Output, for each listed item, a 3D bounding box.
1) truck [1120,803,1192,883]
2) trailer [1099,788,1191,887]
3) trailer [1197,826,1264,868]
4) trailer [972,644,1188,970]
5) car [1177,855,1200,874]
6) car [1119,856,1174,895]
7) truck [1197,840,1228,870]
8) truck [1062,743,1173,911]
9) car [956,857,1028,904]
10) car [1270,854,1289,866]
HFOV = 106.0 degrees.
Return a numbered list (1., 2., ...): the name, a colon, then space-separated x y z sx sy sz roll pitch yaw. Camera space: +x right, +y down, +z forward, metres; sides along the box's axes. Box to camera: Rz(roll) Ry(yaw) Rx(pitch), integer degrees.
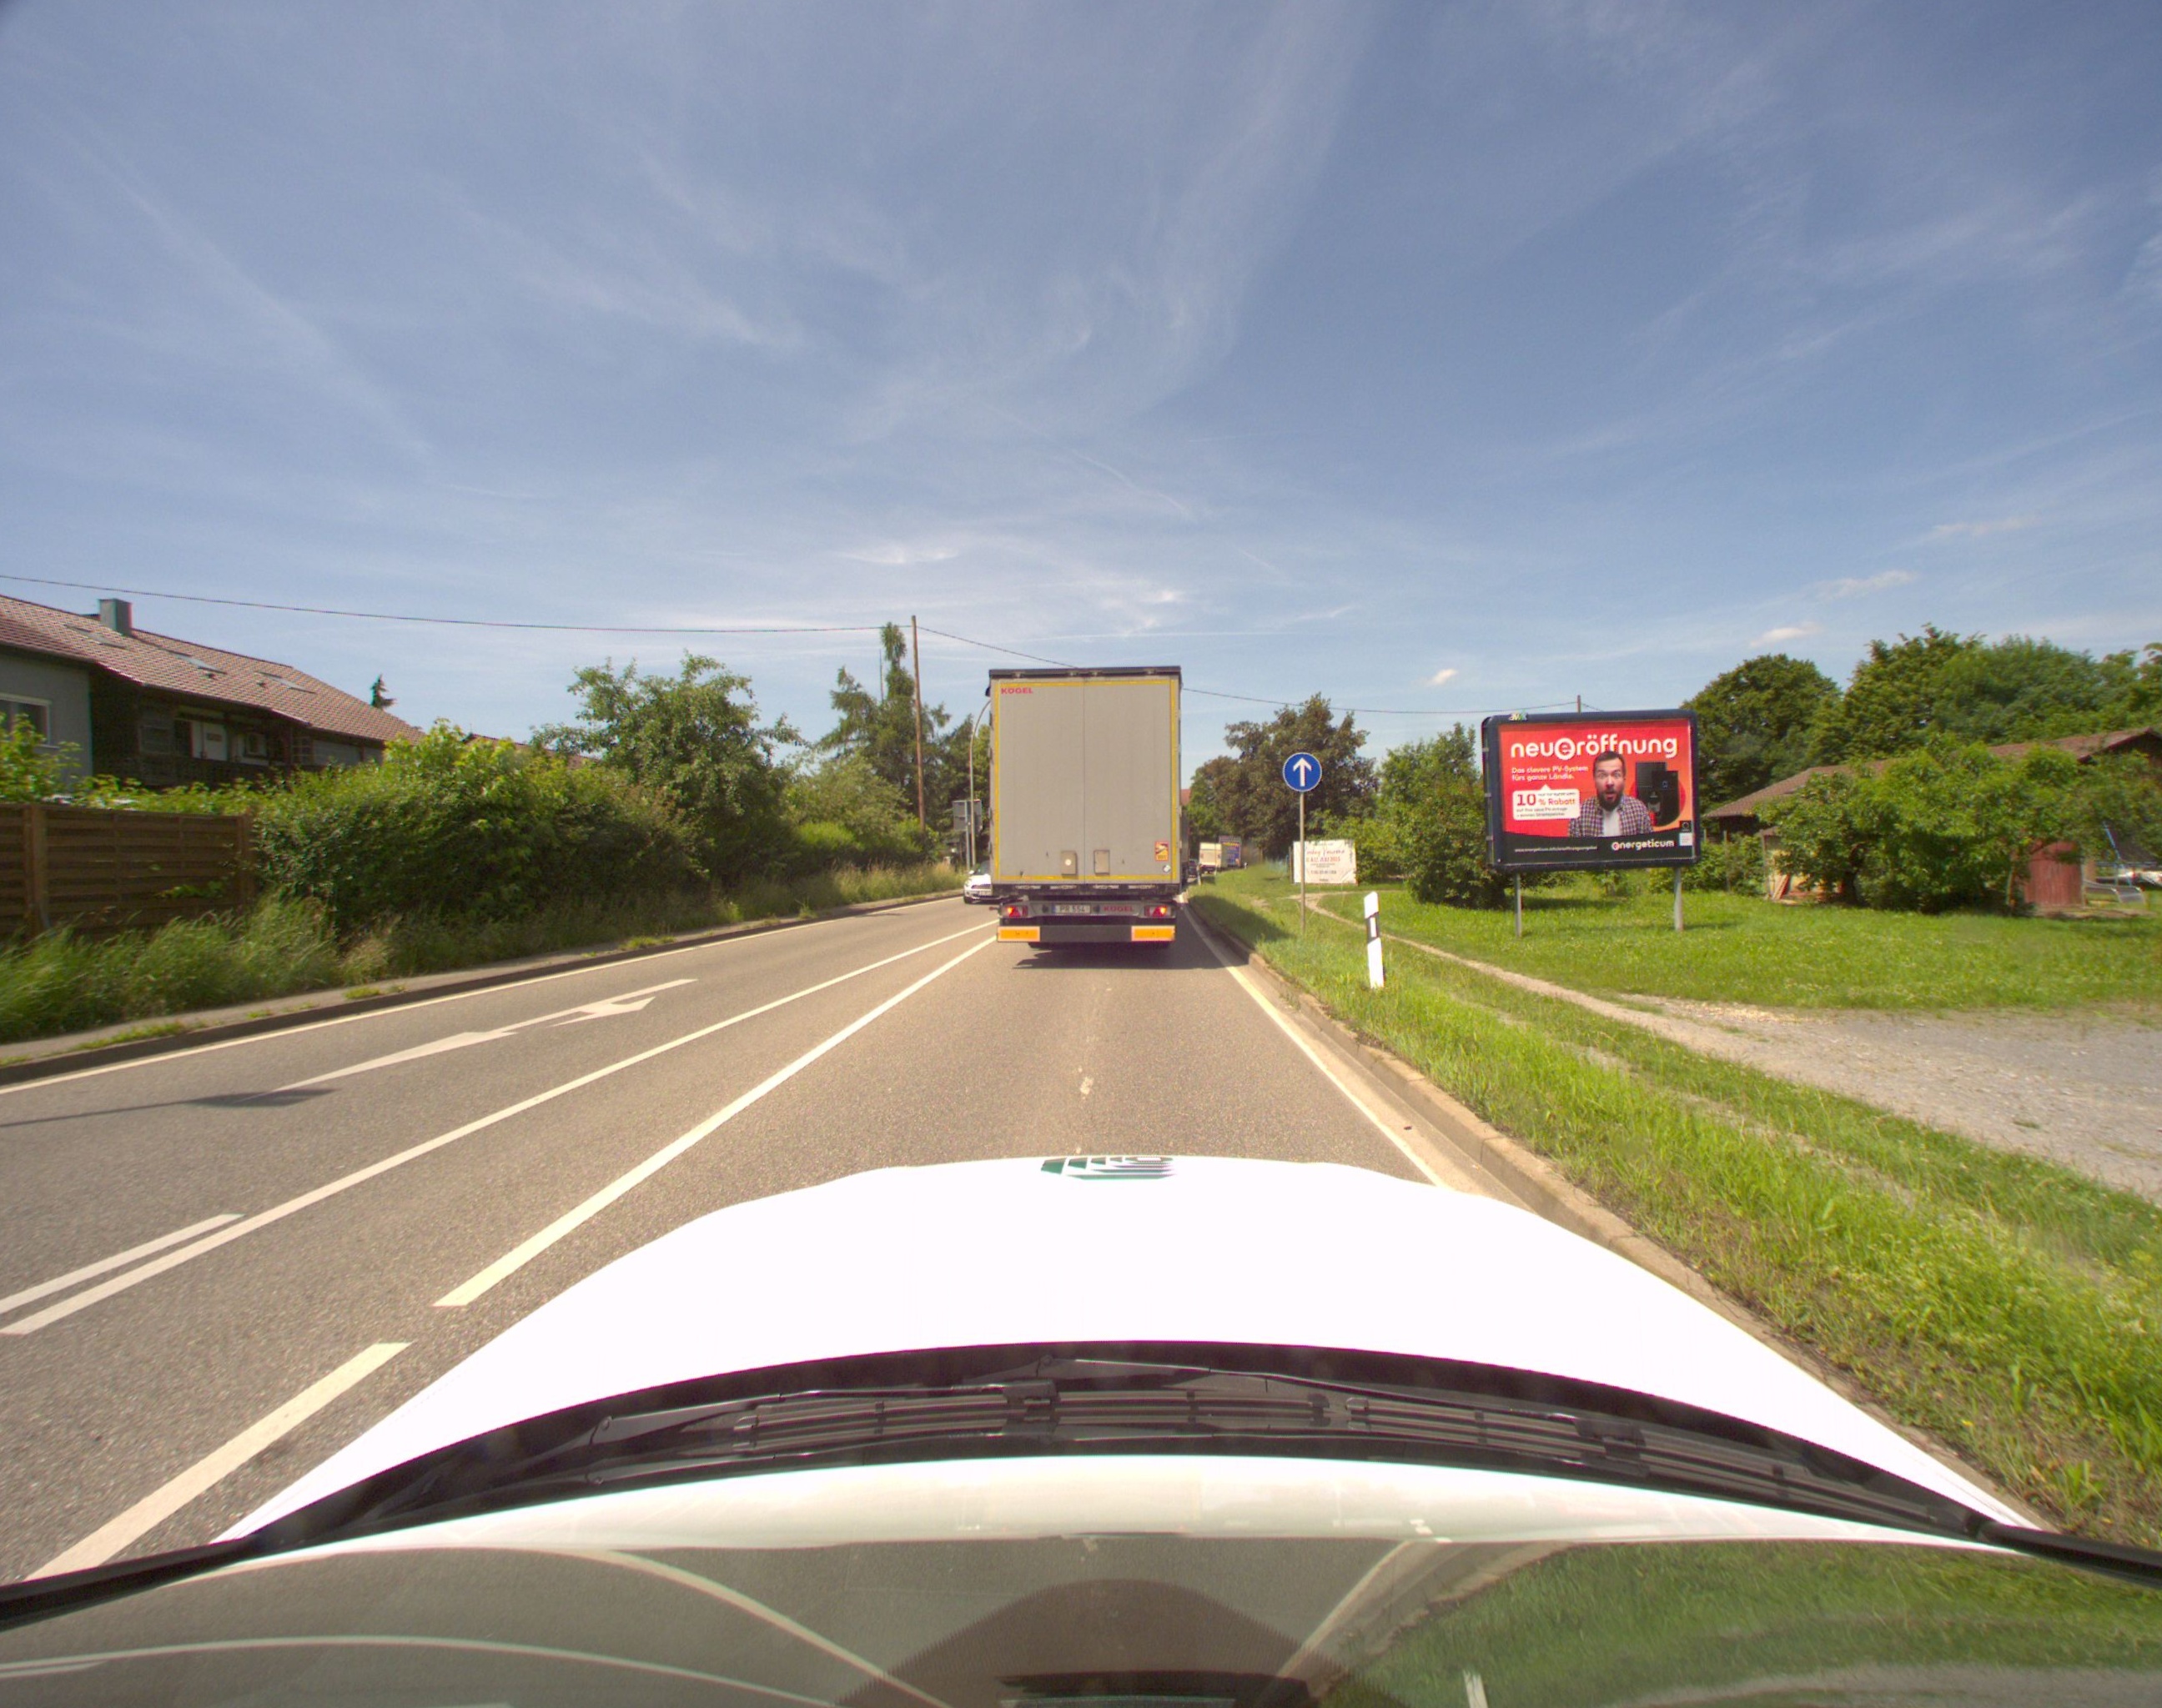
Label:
1. truck: 4.816 -0.634 50.976 3.913 4.575 7.170 -1 0 9
2. trailer: 3.818 -0.802 44.147 3.868 4.520 12.746 -1 0 9
3. trailer: 18.262 -0.848 97.985 5.135 4.628 15.978 -1 0 21
4. trailer: 0.550 -0.640 16.653 2.773 4.205 12.129 -1 0 5
5. car: 8.903 0.848 67.393 1.831 1.486 4.010 -1 0 8
6. car: 2.851 0.871 34.525 1.982 1.530 4.010 -1 0 9
7. truck: 13.074 0.076 80.816 2.402 2.838 5.434 -1 0 15
8. truck: 1.207 -0.681 23.411 2.732 4.165 6.152 -1 0 5
9. car: -2.878 0.835 27.079 1.614 1.381 3.566 1 1 6
10. car: 29.458 0.864 120.845 1.975 1.684 4.023 -1 0 25
